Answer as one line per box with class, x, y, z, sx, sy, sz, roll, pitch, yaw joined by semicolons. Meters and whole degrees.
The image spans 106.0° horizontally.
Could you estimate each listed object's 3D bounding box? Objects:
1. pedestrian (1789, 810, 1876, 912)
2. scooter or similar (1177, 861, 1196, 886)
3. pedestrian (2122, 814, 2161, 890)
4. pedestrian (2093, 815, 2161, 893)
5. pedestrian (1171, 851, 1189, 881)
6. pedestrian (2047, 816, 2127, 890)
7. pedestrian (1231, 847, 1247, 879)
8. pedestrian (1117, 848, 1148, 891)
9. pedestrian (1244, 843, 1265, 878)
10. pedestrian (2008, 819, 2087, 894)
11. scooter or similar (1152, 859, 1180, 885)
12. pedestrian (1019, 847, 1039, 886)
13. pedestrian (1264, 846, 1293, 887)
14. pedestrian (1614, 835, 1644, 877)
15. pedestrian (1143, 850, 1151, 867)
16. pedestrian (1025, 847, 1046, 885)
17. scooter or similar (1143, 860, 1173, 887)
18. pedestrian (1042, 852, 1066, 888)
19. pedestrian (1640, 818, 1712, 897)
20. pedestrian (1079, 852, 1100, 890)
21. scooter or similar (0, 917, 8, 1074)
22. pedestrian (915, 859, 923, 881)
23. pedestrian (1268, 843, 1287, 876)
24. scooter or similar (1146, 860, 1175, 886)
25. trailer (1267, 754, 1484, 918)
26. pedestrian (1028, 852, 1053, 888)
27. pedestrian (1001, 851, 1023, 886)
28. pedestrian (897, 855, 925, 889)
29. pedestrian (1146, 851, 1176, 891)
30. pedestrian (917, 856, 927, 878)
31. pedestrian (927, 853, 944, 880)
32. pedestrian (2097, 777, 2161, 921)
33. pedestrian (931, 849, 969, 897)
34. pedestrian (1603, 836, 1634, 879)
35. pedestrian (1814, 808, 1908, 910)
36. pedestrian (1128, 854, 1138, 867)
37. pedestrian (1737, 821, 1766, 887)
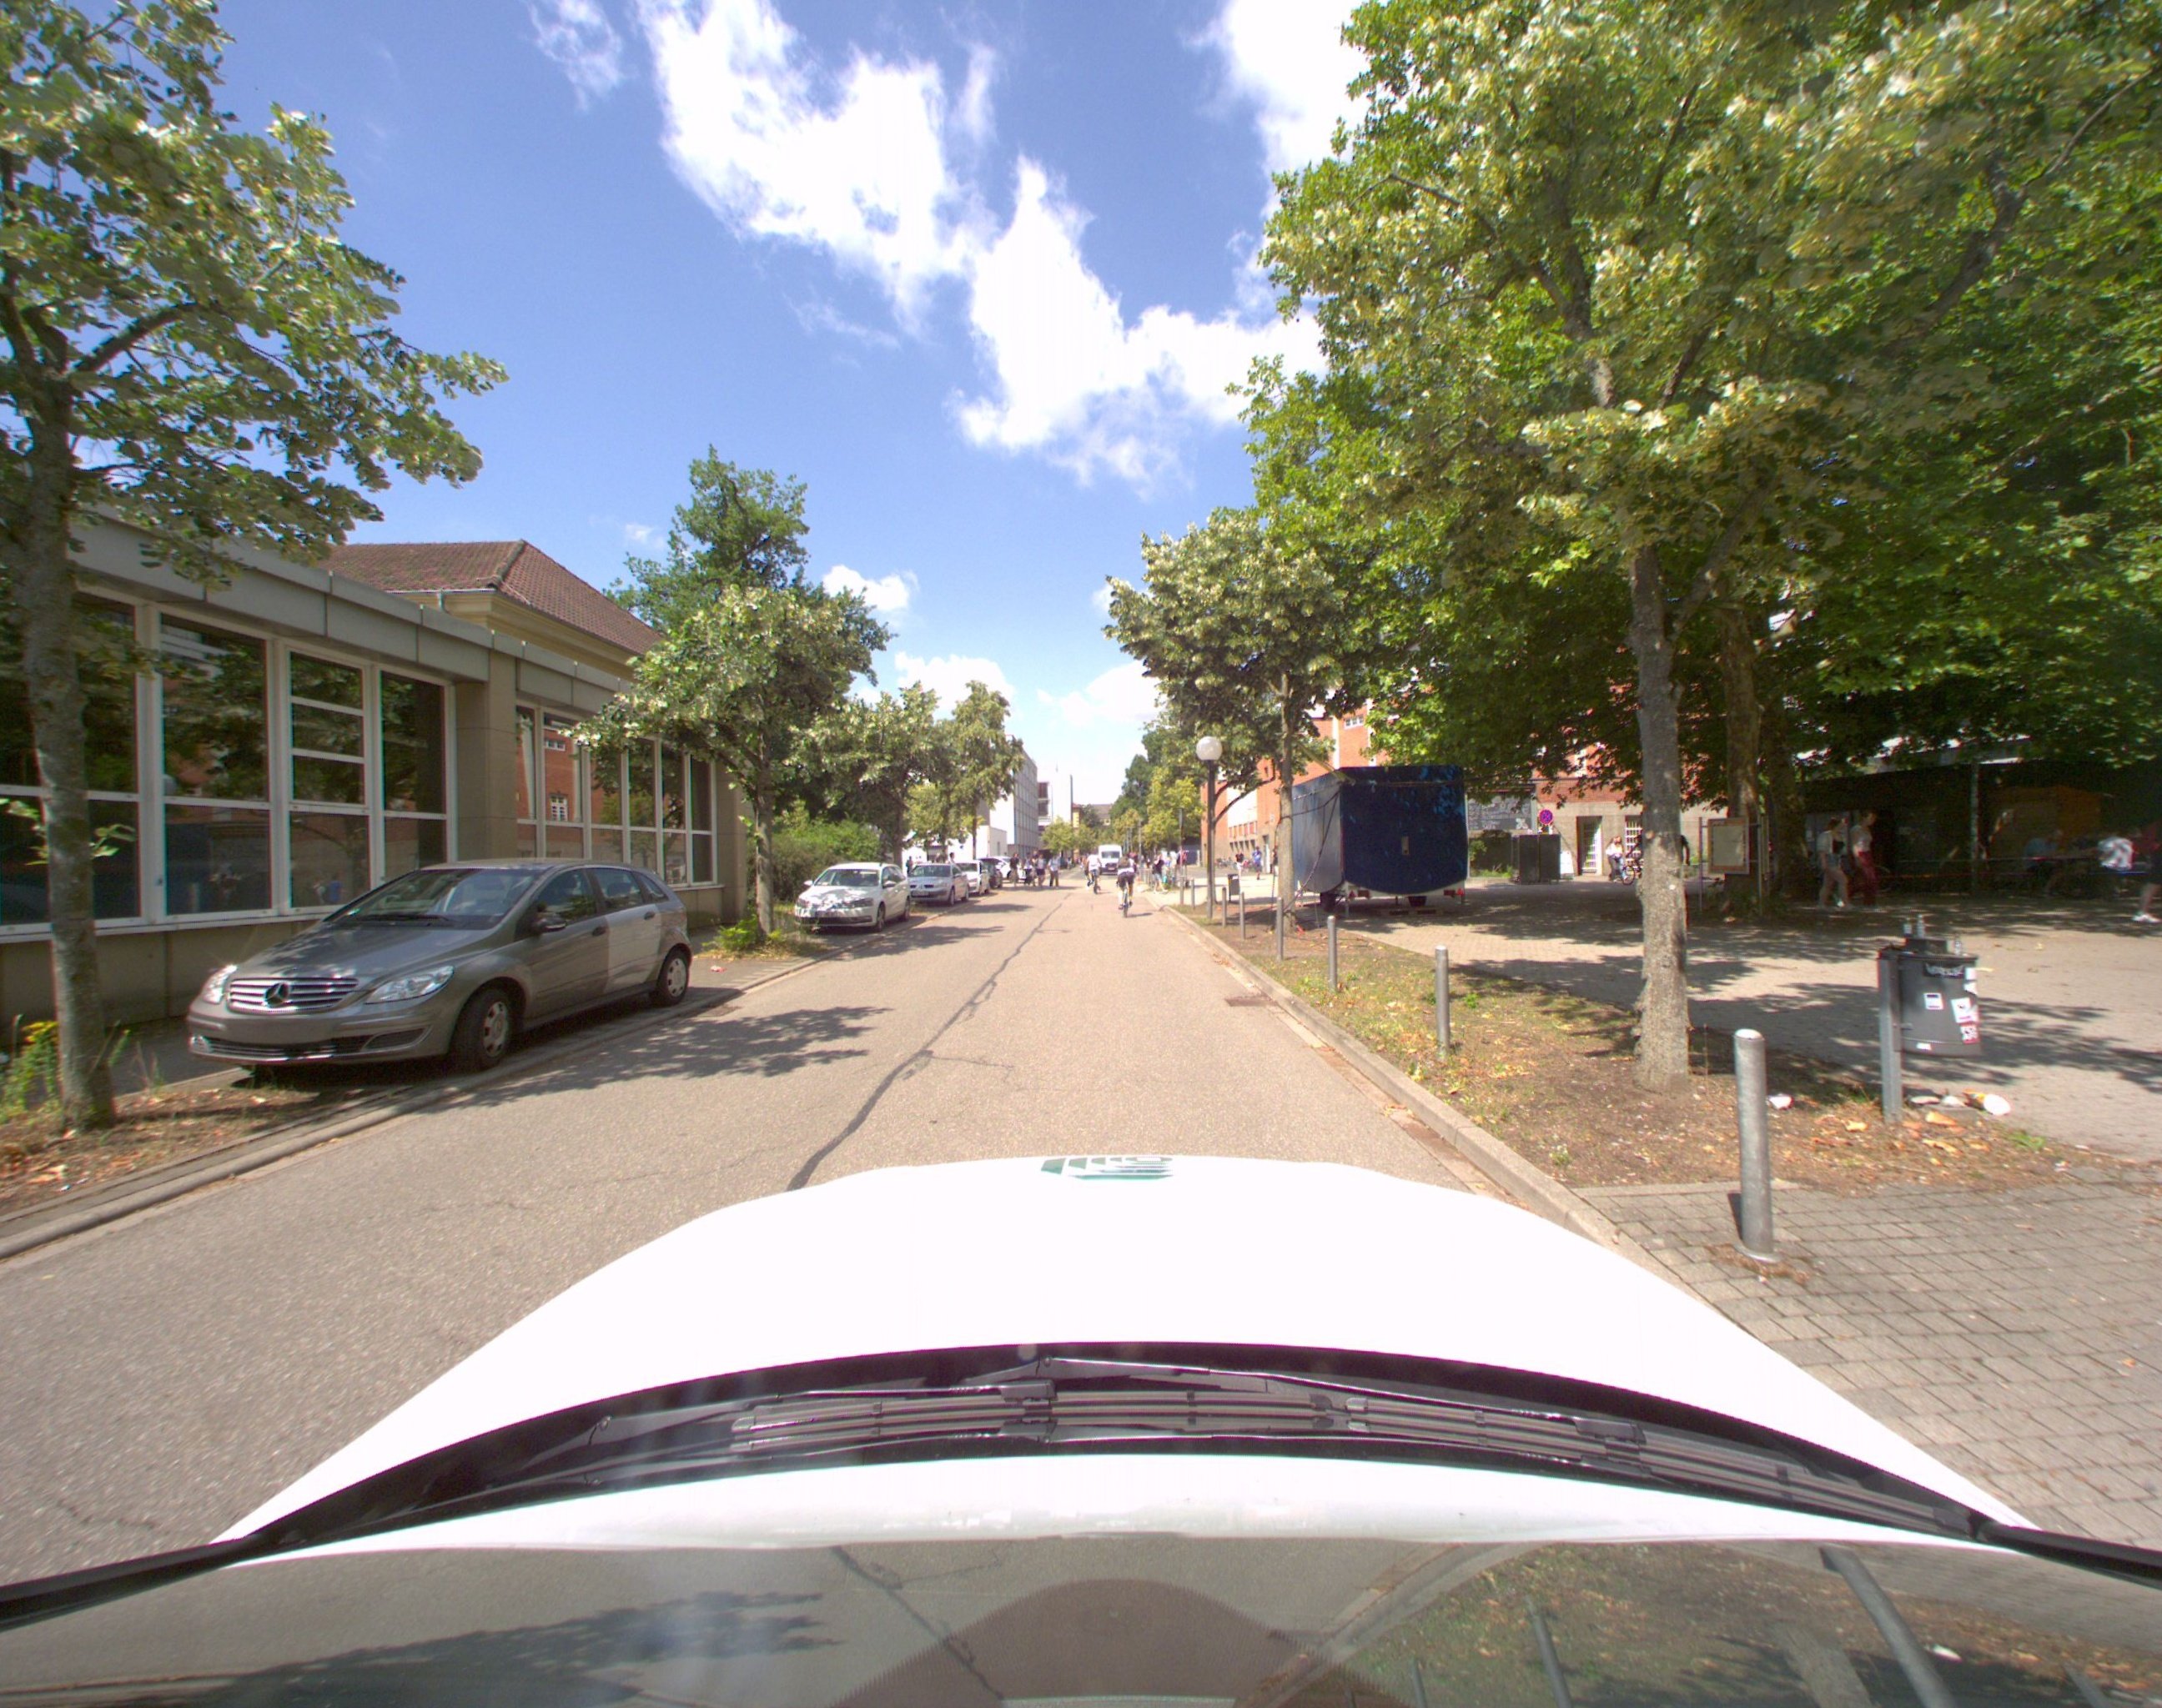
pedestrian;12.798;0.117;13.889;0.694;1.661;0.788;-2;-1;1
scooter or similar;5.040;0.932;38.954;0.643;1.160;1.270;-2;0;17
pedestrian;19.721;-0.045;14.816;0.568;1.346;0.728;-4;0;-3
pedestrian;19.146;0.001;14.778;0.568;1.346;0.728;-4;0;-3
pedestrian;5.757;0.695;47.443;0.952;1.694;0.707;0;2;11
pedestrian;19.312;-0.021;15.648;0.568;1.346;0.728;-4;0;-3
pedestrian;8.411;0.461;43.255;0.502;1.630;0.568;-5;1;-16
pedestrian;2.292;0.681;36.411;1.102;1.859;0.860;1;1;38
pedestrian;9.272;0.334;43.475;0.710;1.787;0.748;-5;1;-16
pedestrian;18.505;0.043;15.605;0.568;1.346;0.728;-4;0;-3
scooter or similar;4.310;0.896;41.334;1.248;1.265;0.644;-2;0;33
pedestrian;-2.678;0.662;41.915;0.620;1.980;0.821;-2;-2;-30
pedestrian;8.404;0.538;34.643;0.872;1.638;0.949;-5;0;1
pedestrian;21.396;0.080;31.798;0.657;1.607;0.678;-2;-1;-14
pedestrian;7.613;0.525;94.329;0.787;1.860;1.026;-2;0;3
pedestrian;-2.409;0.631;42.812;0.818;1.980;0.695;1;0;25
scooter or similar;3.771;0.966;39.756;1.248;1.265;0.655;-2;0;33
pedestrian;-1.324;0.780;39.693;0.897;1.739;0.683;-2;0;39
pedestrian;13.863;0.067;19.001;0.957;1.775;0.917;-2;0;-7
pedestrian;0.387;0.786;38.144;0.704;1.720;0.987;0;-1;-20
scooter or similar;-8.323;1.054;5.500;0.503;1.169;1.216;0;0;2
pedestrian;-13.190;1.281;66.305;0.549;1.764;0.586;-1;-1;2
pedestrian;11.343;0.312;47.008;0.787;1.860;1.116;-2;0;0
scooter or similar;3.965;0.961;40.527;1.248;1.265;0.655;-2;0;33
trailer;6.403;-0.340;18.841;2.682;3.051;6.257;-3;0;0
pedestrian;-1.958;0.770;39.260;0.971;1.739;0.705;-3;-2;40
pedestrian;-3.577;0.729;42.301;0.794;1.772;0.859;1;0;25
pedestrian;-9.996;1.070;47.891;1.163;1.904;1.024;-4;-9;38
pedestrian;3.314;0.705;33.801;0.855;1.595;0.820;-3;0;-42
pedestrian;-13.071;1.084;66.868;0.690;1.749;0.636;-1;-1;2
pedestrian;-9.787;0.816;54.813;0.979;1.785;0.668;-1;-2;0
pedestrian;14.352;-0.077;10.752;0.762;1.855;0.824;-2;-1;1
pedestrian;-4.910;0.720;30.552;1.097;1.716;0.713;2;-3;15
pedestrian;20.588;0.122;31.185;0.657;1.607;0.678;-2;-1;-14
pedestrian;13.385;0.084;13.997;0.762;1.661;0.824;-2;-1;1
pedestrian;8.547;1.052;133.996;1.495;1.996;1.646;-4;0;0
pedestrian;19.551;-0.005;23.754;0.444;1.883;0.531;-1;0;11
